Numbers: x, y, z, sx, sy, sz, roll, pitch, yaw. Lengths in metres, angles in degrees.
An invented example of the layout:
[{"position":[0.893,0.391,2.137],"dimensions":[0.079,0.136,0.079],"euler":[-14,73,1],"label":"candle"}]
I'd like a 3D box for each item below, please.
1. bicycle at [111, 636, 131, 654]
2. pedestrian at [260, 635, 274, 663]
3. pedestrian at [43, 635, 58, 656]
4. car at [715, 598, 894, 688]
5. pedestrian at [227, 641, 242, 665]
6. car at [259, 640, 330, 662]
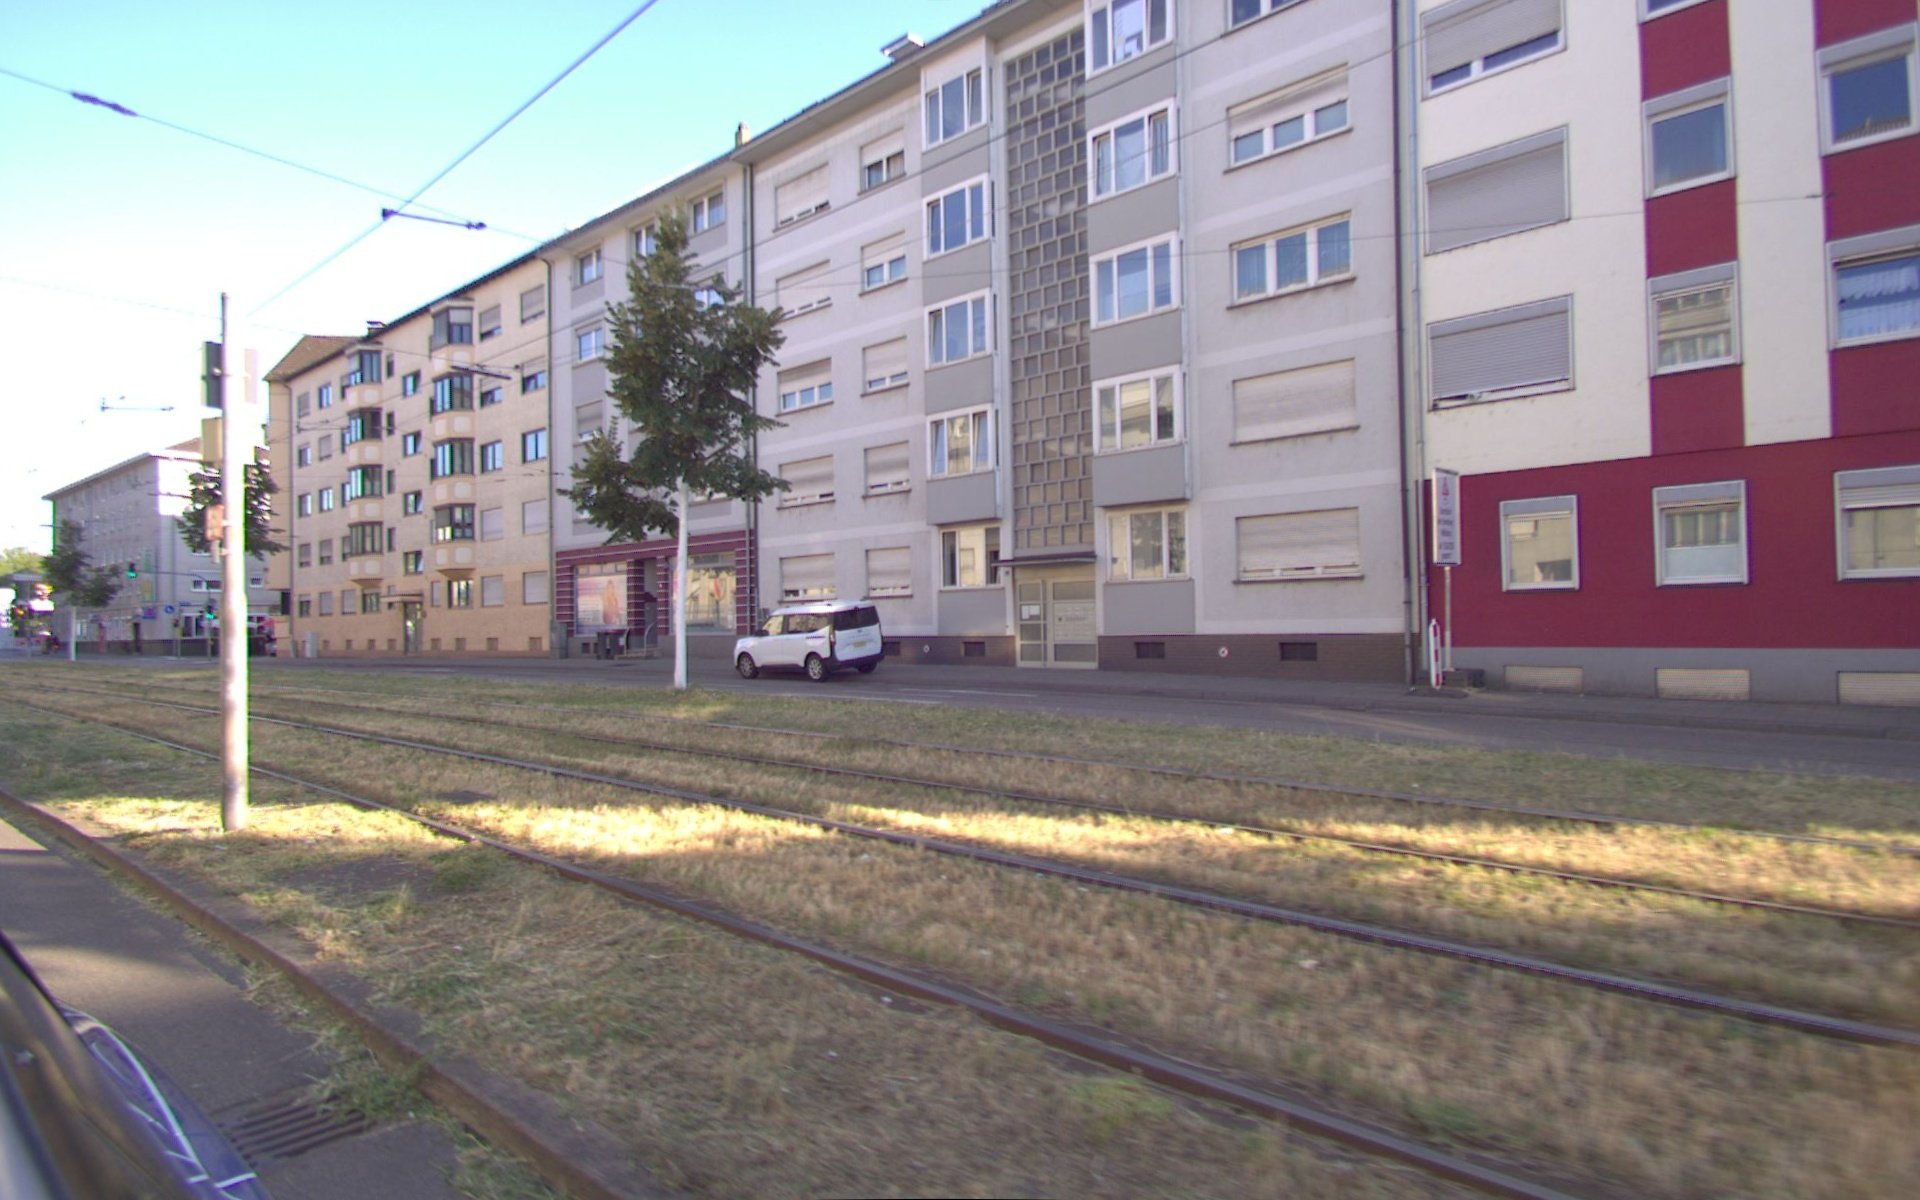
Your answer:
[{"position":[-67.242,3.620,81.091],"dimensions":[3.232,1.389,0.572],"euler":[-2,-2,38],"label":"bicycle"},{"position":[-44.733,3.153,65.298],"dimensions":[0.624,1.784,0.827],"euler":[0,-2,-27],"label":"pedestrian"},{"position":[-78.161,3.894,86.970],"dimensions":[1.224,1.754,0.733],"euler":[-2,-2,38],"label":"pedestrian"},{"position":[-3.921,1.041,25.156],"dimensions":[4.419,1.842,1.848],"euler":[-2,5,41],"label":"car"},{"position":[-46.705,3.387,65.157],"dimensions":[0.581,1.501,0.617],"euler":[-1,-1,38],"label":"pedestrian"},{"position":[-49.594,3.806,75.478],"dimensions":[1.995,1.519,3.953],"euler":[-2,-2,34],"label":"car"}]
